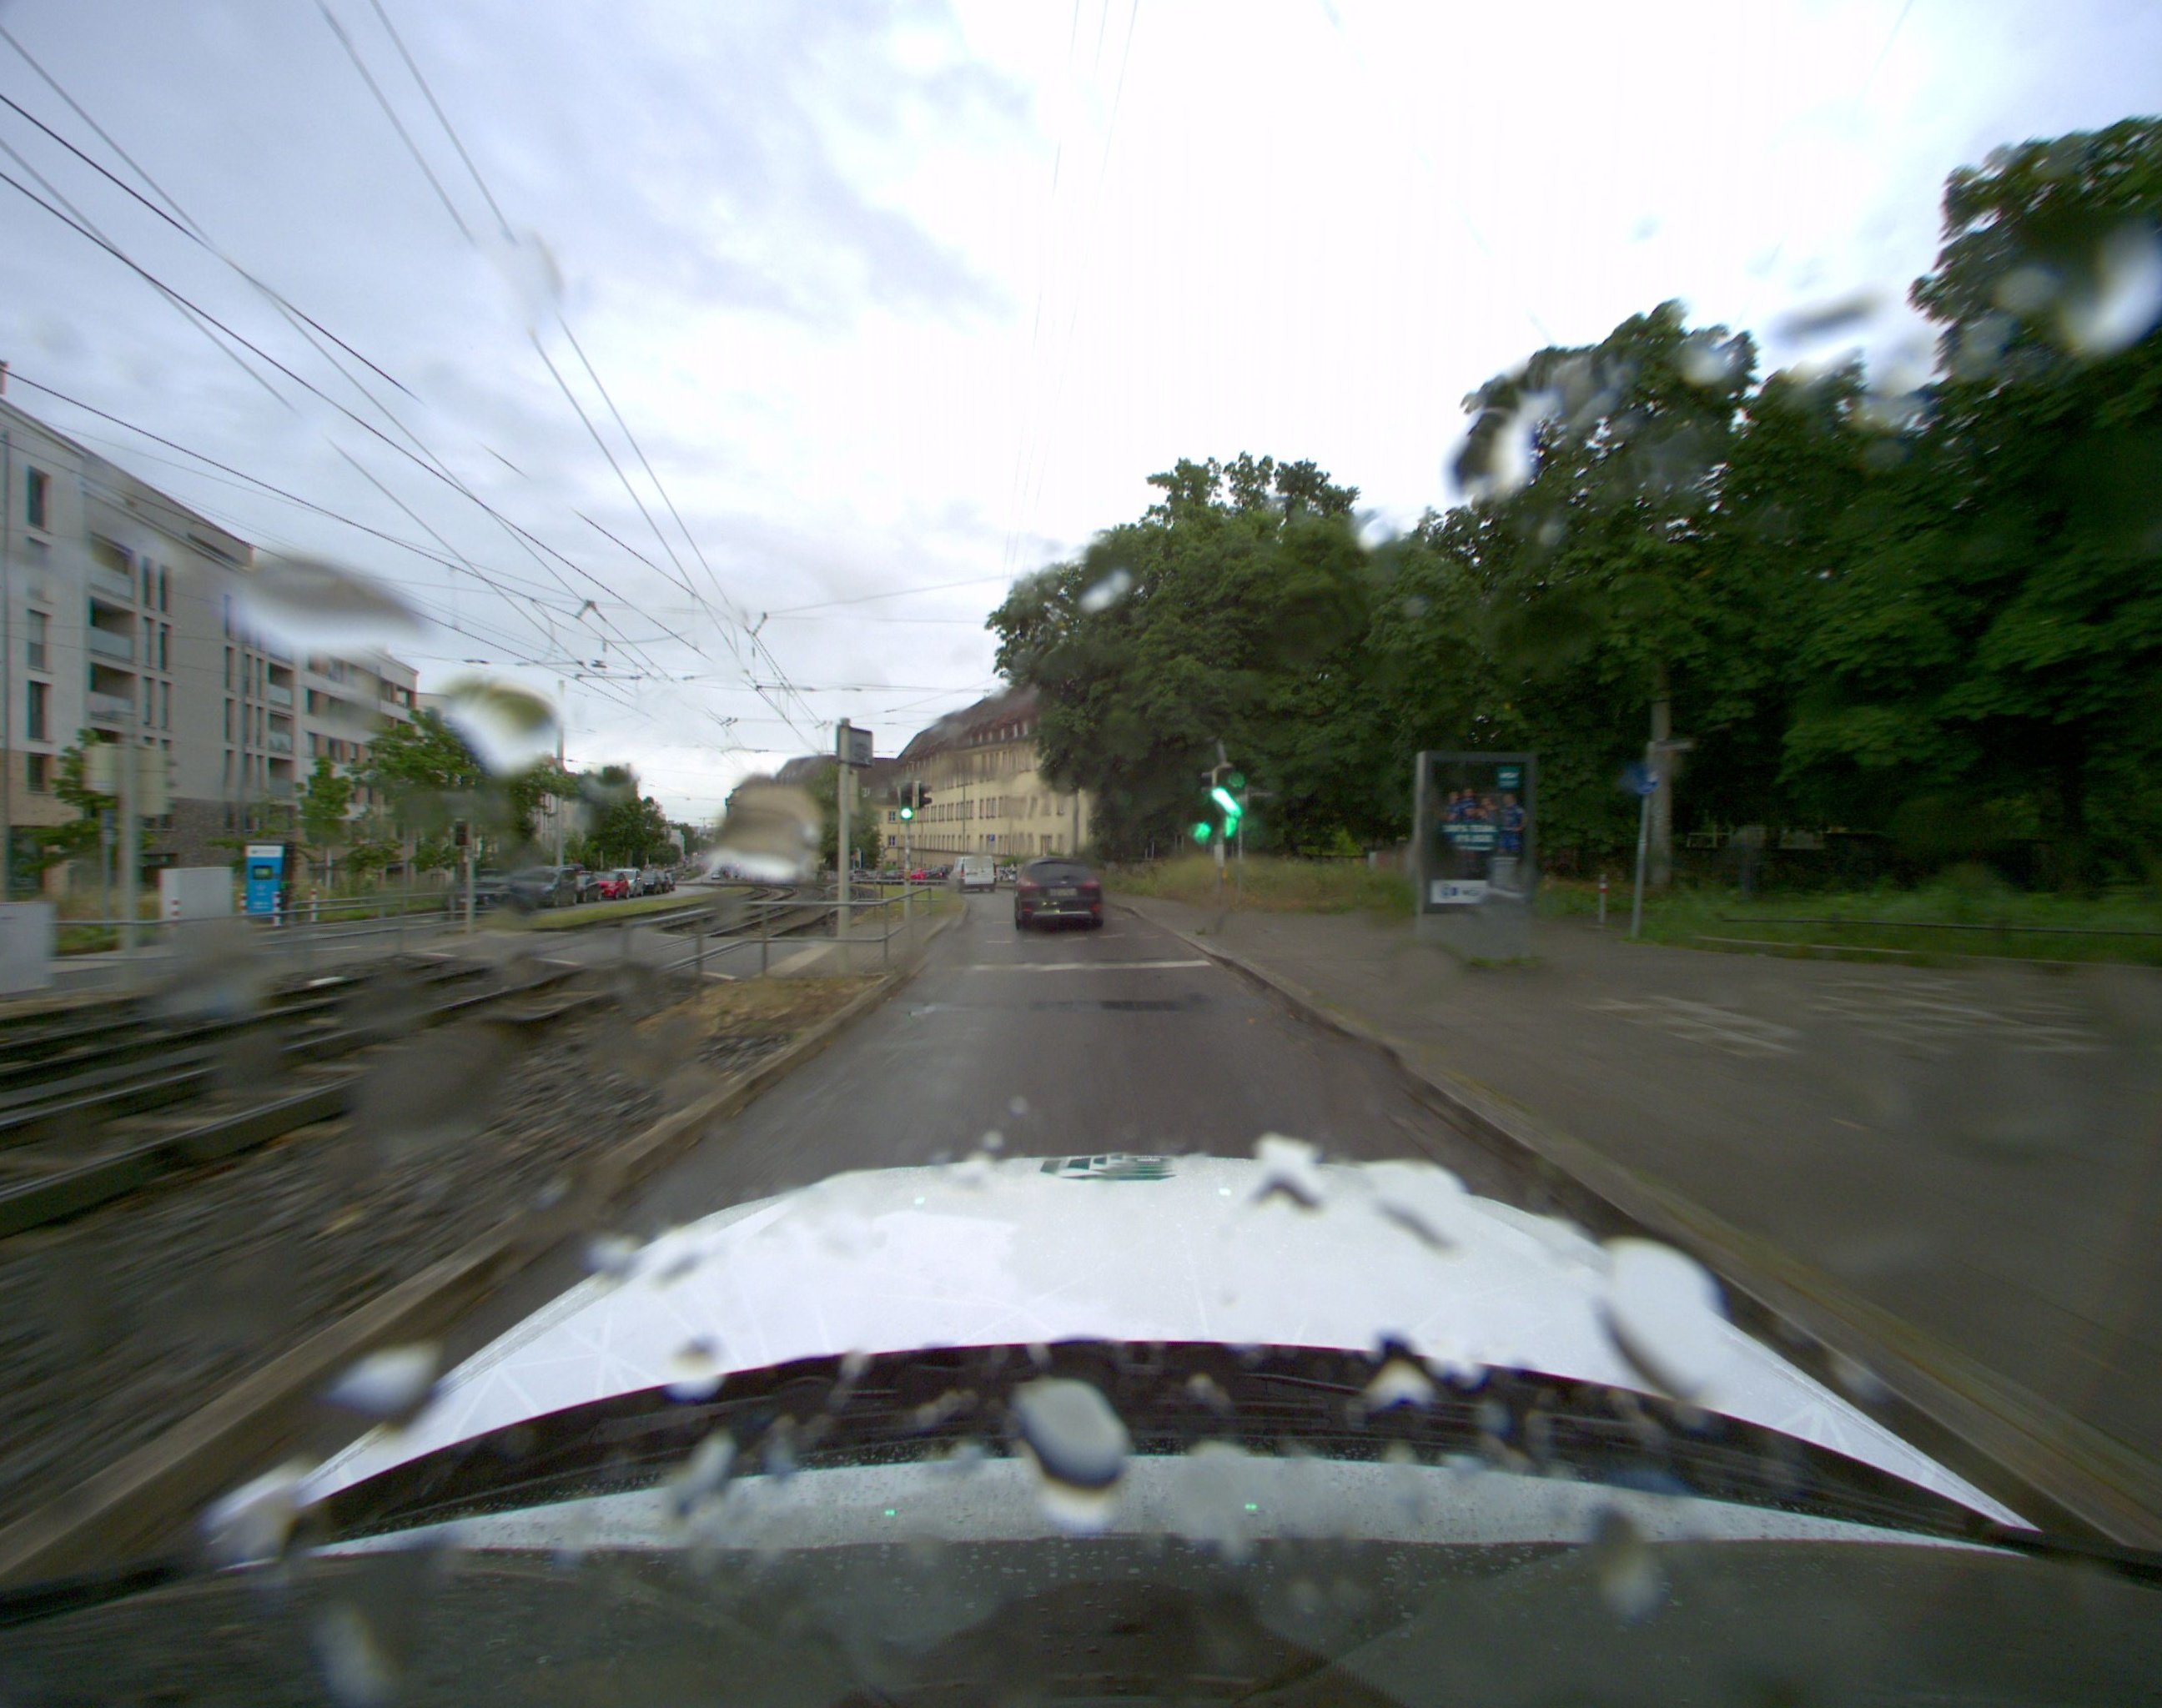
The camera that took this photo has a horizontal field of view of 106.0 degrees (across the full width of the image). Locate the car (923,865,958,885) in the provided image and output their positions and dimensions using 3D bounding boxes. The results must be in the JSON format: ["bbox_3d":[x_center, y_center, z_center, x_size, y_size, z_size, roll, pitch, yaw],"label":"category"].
[{"bbox_3d":[-11.606,1.734,67.091,1.675,1.573,3.821,-2,-1,-27],"label":"car"}]

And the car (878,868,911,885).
[{"bbox_3d":[-17.484,2.090,76.062,1.676,1.476,4.413,-1,-1,-31],"label":"car"}]

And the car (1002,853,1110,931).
[{"bbox_3d":[-0.671,0.769,18.041,1.919,1.479,3.988,-1,-1,-9],"label":"car"}]

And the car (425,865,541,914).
[{"bbox_3d":[-21.570,1.273,29.597,1.998,1.605,4.190,3,-3,-17],"label":"car"}]

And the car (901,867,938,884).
[{"bbox_3d":[-14.198,1.910,71.575,1.678,1.477,4.022,1,-2,-35],"label":"car"}]

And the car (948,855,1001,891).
[{"bbox_3d":[-5.652,0.978,42.735,2.141,1.745,4.195,-1,-1,-16],"label":"car"}]

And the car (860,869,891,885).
[{"bbox_3d":[-20.522,2.320,81.103,1.677,1.476,4.065,-1,-1,-34],"label":"car"}]

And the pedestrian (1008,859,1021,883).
[{"bbox_3d":[-4.964,1.298,60.984,0.721,1.755,0.733,-1,-1,-23],"label":"pedestrian"}]

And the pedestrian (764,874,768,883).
[{"bbox_3d":[-48.509,3.743,125.485,0.508,1.315,0.505,0,-2,-34],"label":"pedestrian"}]

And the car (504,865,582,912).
[{"bbox_3d":[-22.922,1.452,34.883,1.585,1.859,4.306,2,-2,-17],"label":"car"}]

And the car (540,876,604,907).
[{"bbox_3d":[-24.742,1.802,39.731,1.554,1.447,4.373,1,-2,-17],"label":"car"}]

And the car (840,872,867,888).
[{"bbox_3d":[-24.047,2.733,85.842,1.676,1.524,4.068,-1,-1,-31],"label":"car"}]

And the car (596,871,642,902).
[{"bbox_3d":[-27.495,1.910,48.592,1.668,1.748,4.228,0,-2,-20],"label":"car"}]

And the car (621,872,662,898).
[{"bbox_3d":[-29.179,2.069,54.126,1.738,1.644,4.500,0,-2,-20],"label":"car"}]

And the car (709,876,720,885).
[{"bbox_3d":[-76.218,5.489,169.216,2.002,1.772,3.968,0,-2,-23],"label":"car"}]

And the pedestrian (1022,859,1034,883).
[{"bbox_3d":[-3.997,1.259,61.431,0.721,1.755,0.733,-1,-1,-23],"label":"pedestrian"}]

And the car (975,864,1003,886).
[{"bbox_3d":[-6.659,1.519,58.959,1.600,1.465,2.707,-2,-1,-15],"label":"car"}]

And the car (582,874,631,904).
[{"bbox_3d":[-25.675,1.889,44.153,1.471,1.531,2.917,1,-2,-14],"label":"car"}]
